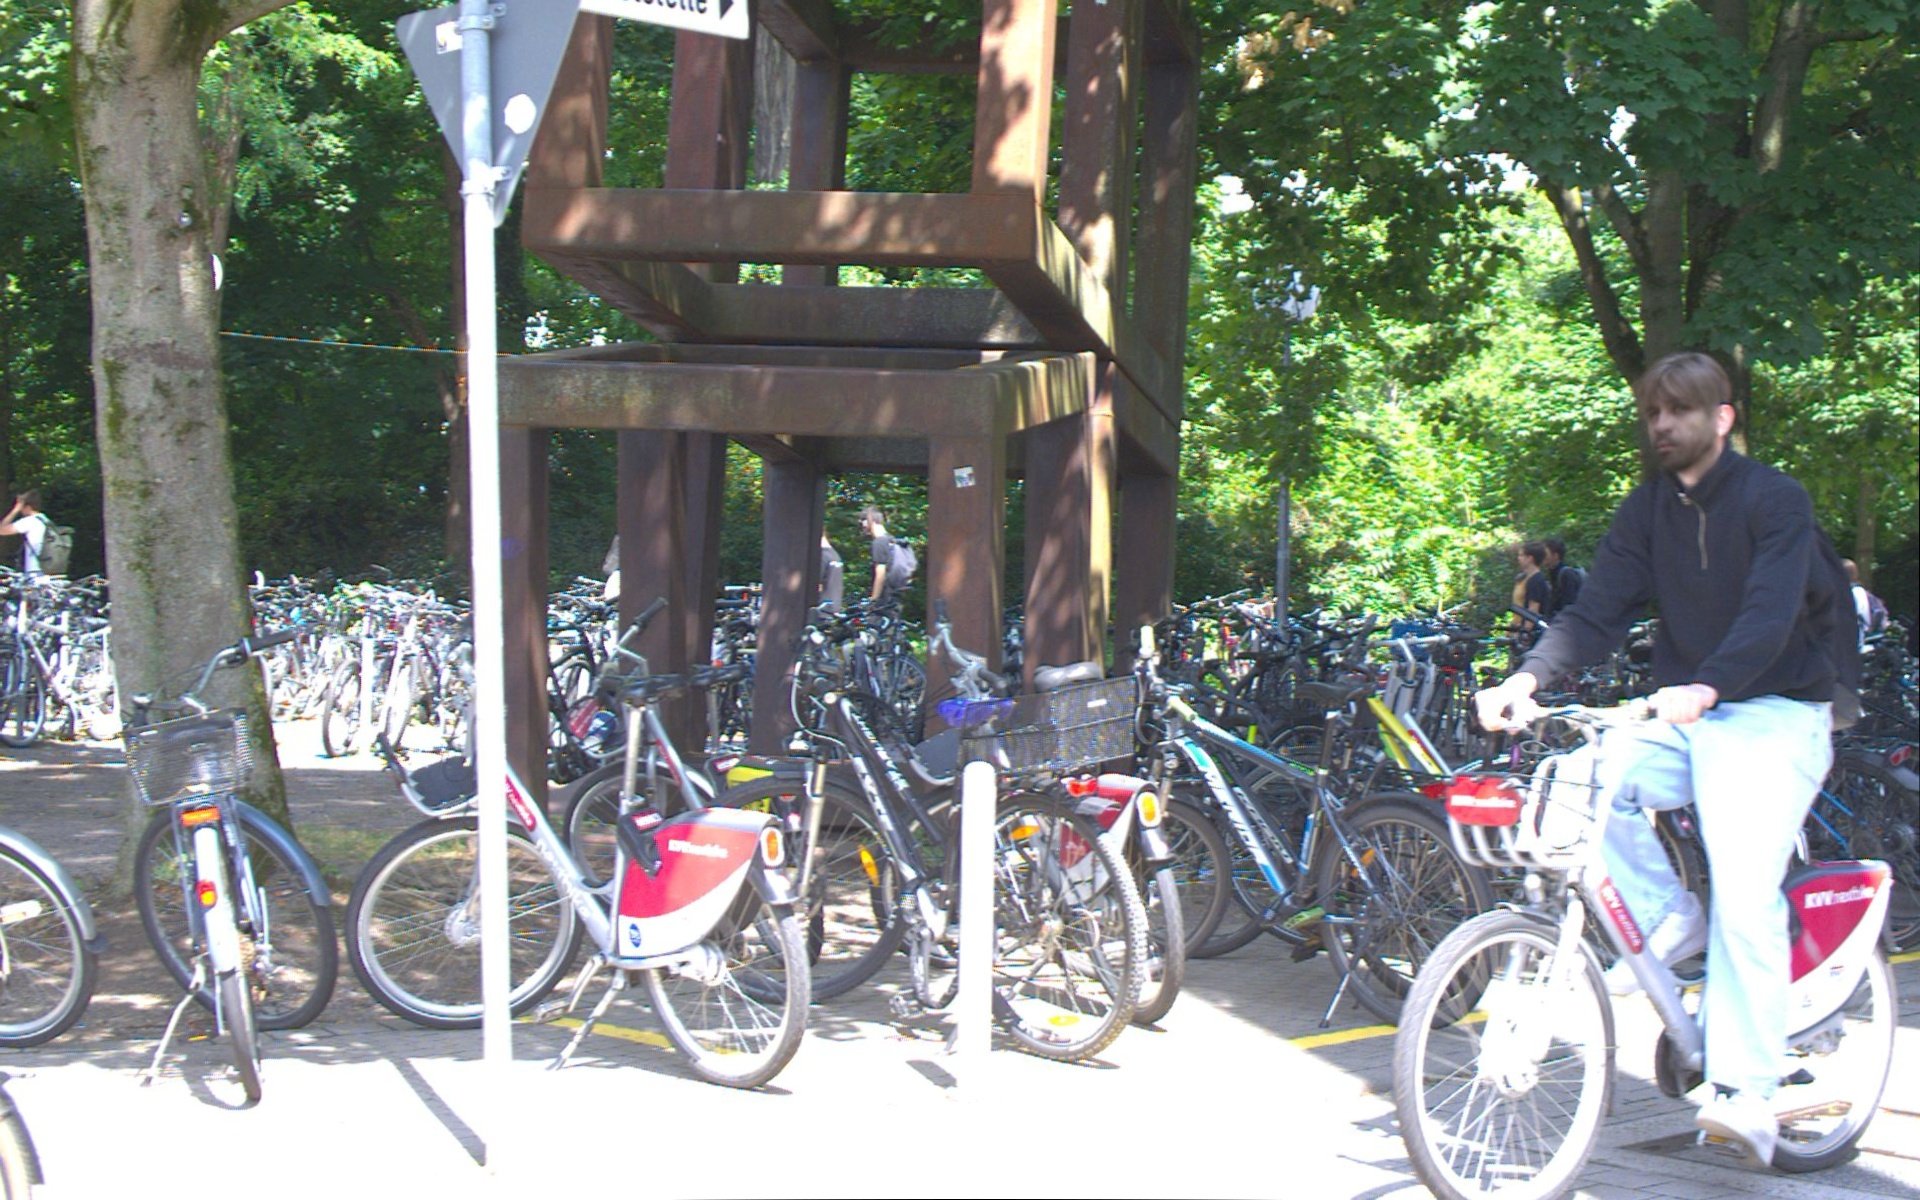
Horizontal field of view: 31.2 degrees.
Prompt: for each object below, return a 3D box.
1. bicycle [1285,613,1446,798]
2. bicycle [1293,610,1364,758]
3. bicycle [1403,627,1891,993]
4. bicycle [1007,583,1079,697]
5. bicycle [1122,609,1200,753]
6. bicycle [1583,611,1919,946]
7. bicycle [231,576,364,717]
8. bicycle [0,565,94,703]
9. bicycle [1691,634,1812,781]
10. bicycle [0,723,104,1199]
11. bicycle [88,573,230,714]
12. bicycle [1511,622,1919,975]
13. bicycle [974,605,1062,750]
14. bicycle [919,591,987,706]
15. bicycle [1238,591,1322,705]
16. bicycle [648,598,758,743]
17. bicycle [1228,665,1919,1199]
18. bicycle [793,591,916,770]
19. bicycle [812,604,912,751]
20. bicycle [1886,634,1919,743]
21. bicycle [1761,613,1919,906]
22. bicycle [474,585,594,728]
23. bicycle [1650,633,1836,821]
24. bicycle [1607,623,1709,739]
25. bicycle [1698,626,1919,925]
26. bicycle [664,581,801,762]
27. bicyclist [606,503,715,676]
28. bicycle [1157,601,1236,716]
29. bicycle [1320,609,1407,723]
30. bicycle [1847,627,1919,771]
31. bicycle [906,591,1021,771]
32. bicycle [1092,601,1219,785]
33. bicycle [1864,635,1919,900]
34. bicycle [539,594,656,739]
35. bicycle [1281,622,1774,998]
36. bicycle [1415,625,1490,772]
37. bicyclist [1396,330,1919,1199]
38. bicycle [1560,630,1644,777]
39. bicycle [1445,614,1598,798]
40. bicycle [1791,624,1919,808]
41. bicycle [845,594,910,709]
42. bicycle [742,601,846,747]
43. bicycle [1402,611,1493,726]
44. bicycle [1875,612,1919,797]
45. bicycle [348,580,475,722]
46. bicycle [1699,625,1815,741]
[{"bbox_3d":[2.623,0.665,22.407,0.629,1.104,1.700,3,0,-6],"label":"bicycle"},{"bbox_3d":[2.864,0.633,26.693,0.473,1.080,1.699,3,0,6],"label":"bicycle"},{"bbox_3d":[2.331,0.689,11.832,0.495,1.104,1.629,3,0,-41],"label":"bicycle"},{"bbox_3d":[0.842,0.395,35.247,0.515,1.106,1.778,3,0,-4],"label":"bicycle"},{"bbox_3d":[1.609,0.629,27.326,0.473,1.080,1.699,3,0,6],"label":"bicycle"},{"bbox_3d":[3.222,0.659,13.062,1.629,1.147,0.495,3,0,45],"label":"bicycle"},{"bbox_3d":[-5.356,0.365,27.893,0.473,1.080,1.858,3,0,6],"label":"bicycle"},{"bbox_3d":[-7.670,0.264,28.098,0.473,1.080,1.858,3,0,6],"label":"bicycle"},{"bbox_3d":[6.274,0.834,27.311,0.472,1.080,1.700,3,0,-1],"label":"bicycle"},{"bbox_3d":[-2.225,0.772,5.031,1.813,1.104,0.641,0,2,-23],"label":"bicycle"},{"bbox_3d":[-6.480,0.340,27.894,0.473,1.080,1.858,3,0,6],"label":"bicycle"},{"bbox_3d":[2.860,0.680,12.322,0.689,1.104,1.629,3,0,-41],"label":"bicycle"},{"bbox_3d":[0.467,0.592,27.015,0.473,1.080,1.699,3,0,6],"label":"bicycle"},{"bbox_3d":[-0.082,0.476,35.112,0.515,1.106,1.778,3,0,-4],"label":"bicycle"},{"bbox_3d":[3.287,0.476,35.398,0.515,1.106,1.778,3,0,-4],"label":"bicycle"},{"bbox_3d":[-2.009,0.536,27.048,0.473,1.080,1.858,3,0,6],"label":"bicycle"},{"bbox_3d":[1.591,0.766,7.595,1.880,1.136,0.675,3,1,-31],"label":"bicycle"},{"bbox_3d":[-0.681,0.511,22.617,0.501,1.104,1.779,3,0,6],"label":"bicycle"},{"bbox_3d":[-0.755,0.587,26.891,0.473,1.080,1.858,3,0,6],"label":"bicycle"},{"bbox_3d":[10.163,0.936,35.493,0.472,1.106,1.778,3,0,-7],"label":"bicycle"},{"bbox_3d":[4.232,0.681,14.033,1.784,1.157,0.496,3,0,39],"label":"bicycle"},{"bbox_3d":[-3.371,0.434,27.341,0.473,1.080,1.858,3,0,6],"label":"bicycle"},{"bbox_3d":[5.056,0.801,22.281,0.501,1.104,1.700,3,0,-10],"label":"bicycle"},{"bbox_3d":[7.151,0.817,35.290,0.515,1.106,1.778,3,0,-4],"label":"bicycle"},{"bbox_3d":[3.825,0.702,13.543,1.628,1.104,0.643,3,0,39],"label":"bicycle"},{"bbox_3d":[-1.461,0.444,22.388,0.501,1.104,1.906,3,0,6],"label":"bicycle"},{"bbox_3d":[-2.787,-0.093,31.970,0.720,1.563,0.595,3,0,28],"label":"bicyclist"},{"bbox_3d":[2.417,0.588,35.283,0.515,1.106,1.778,3,0,-4],"label":"bicycle"},{"bbox_3d":[4.167,0.672,35.592,0.515,1.106,1.778,3,0,-4],"label":"bicycle"},{"bbox_3d":[7.508,0.775,27.163,0.472,1.080,1.700,3,0,-1],"label":"bicycle"},{"bbox_3d":[0.035,0.511,22.510,0.501,1.104,1.779,3,0,6],"label":"bicycle"},{"bbox_3d":[1.258,0.584,22.376,0.501,1.104,1.700,3,0,-6],"label":"bicycle"},{"bbox_3d":[4.662,0.747,14.301,1.628,1.104,0.496,3,0,39],"label":"bicycle"},{"bbox_3d":[-2.856,0.508,27.235,0.473,1.080,1.858,3,0,6],"label":"bicycle"},{"bbox_3d":[1.870,0.670,11.520,0.504,1.104,1.629,3,0,-41],"label":"bicycle"},{"bbox_3d":[3.842,0.752,26.888,0.473,1.080,1.699,3,0,6],"label":"bicycle"},{"bbox_3d":[1.613,0.393,7.582,0.966,1.881,0.675,3,1,-31],"label":"bicyclist"},{"bbox_3d":[5.044,0.797,27.061,0.473,1.080,1.699,3,0,6],"label":"bicycle"},{"bbox_3d":[3.651,0.672,22.461,0.501,1.104,1.700,3,0,-6],"label":"bicycle"},{"bbox_3d":[6.008,0.740,22.320,0.501,1.104,1.700,3,0,-10],"label":"bicycle"},{"bbox_3d":[-0.850,0.512,35.045,0.515,1.106,1.778,3,0,-4],"label":"bicycle"},{"bbox_3d":[-1.292,0.563,27.092,0.473,1.080,1.858,3,0,6],"label":"bicycle"},{"bbox_3d":[5.021,0.689,35.486,0.515,1.106,1.778,3,0,-4],"label":"bicycle"},{"bbox_3d":[6.625,0.708,22.388,0.574,1.195,1.700,3,0,-10],"label":"bicycle"},{"bbox_3d":[-4.395,0.396,27.637,0.473,1.080,1.858,3,0,6],"label":"bicycle"},{"bbox_3d":[8.193,0.839,35.404,0.515,1.106,1.778,3,0,-7],"label":"bicycle"}]
